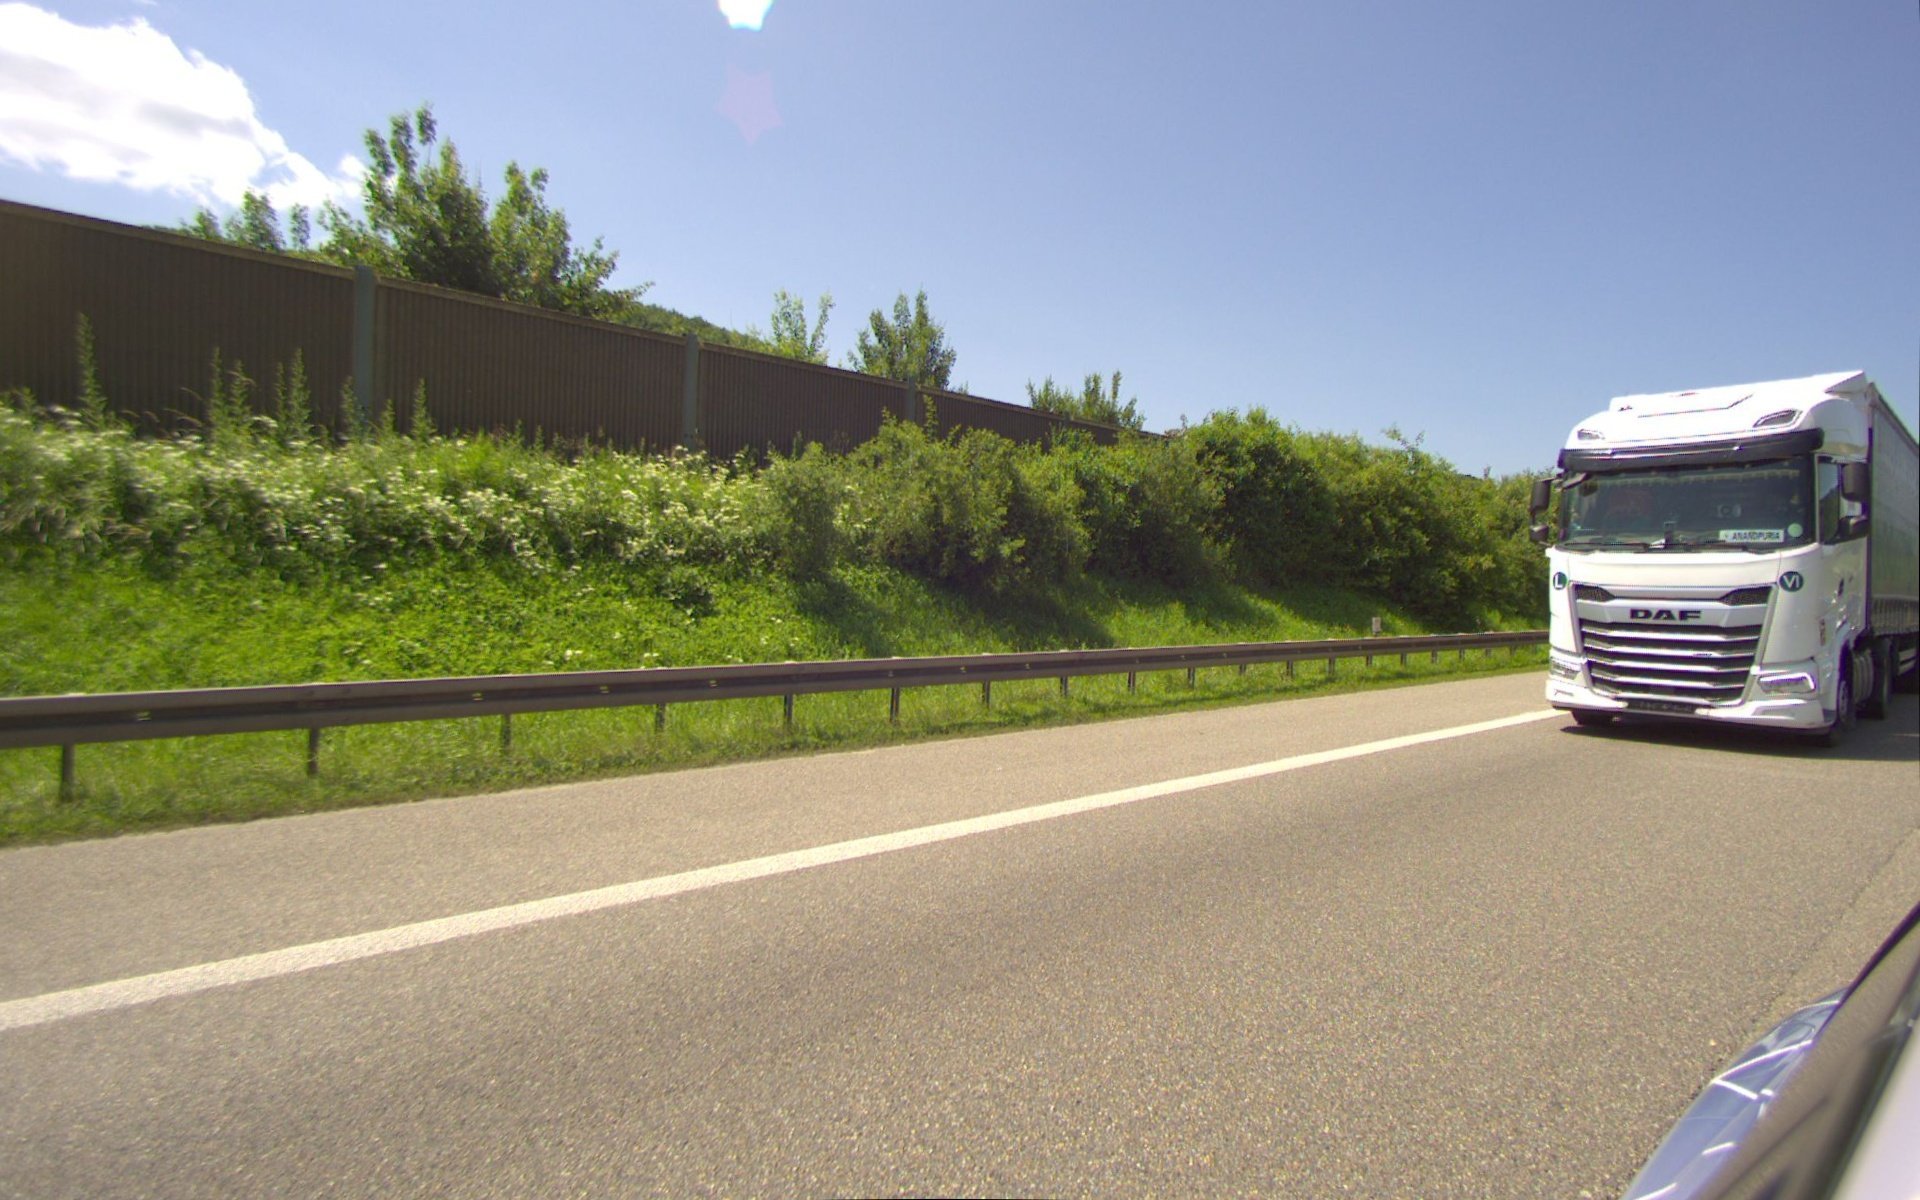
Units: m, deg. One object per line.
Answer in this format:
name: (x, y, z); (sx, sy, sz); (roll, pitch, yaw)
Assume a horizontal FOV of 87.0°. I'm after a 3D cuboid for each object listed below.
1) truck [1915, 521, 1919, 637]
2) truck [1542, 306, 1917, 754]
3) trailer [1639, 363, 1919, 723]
truck: (37.275, -0.779, 37.428); (5.978, 4.140, 2.527); (-1, 0, -43)
truck: (9.453, -0.660, 12.142); (6.272, 4.027, 2.481); (0, 1, -42)
trailer: (14.637, -0.676, 16.802); (13.422, 4.027, 2.481); (0, 1, -43)
